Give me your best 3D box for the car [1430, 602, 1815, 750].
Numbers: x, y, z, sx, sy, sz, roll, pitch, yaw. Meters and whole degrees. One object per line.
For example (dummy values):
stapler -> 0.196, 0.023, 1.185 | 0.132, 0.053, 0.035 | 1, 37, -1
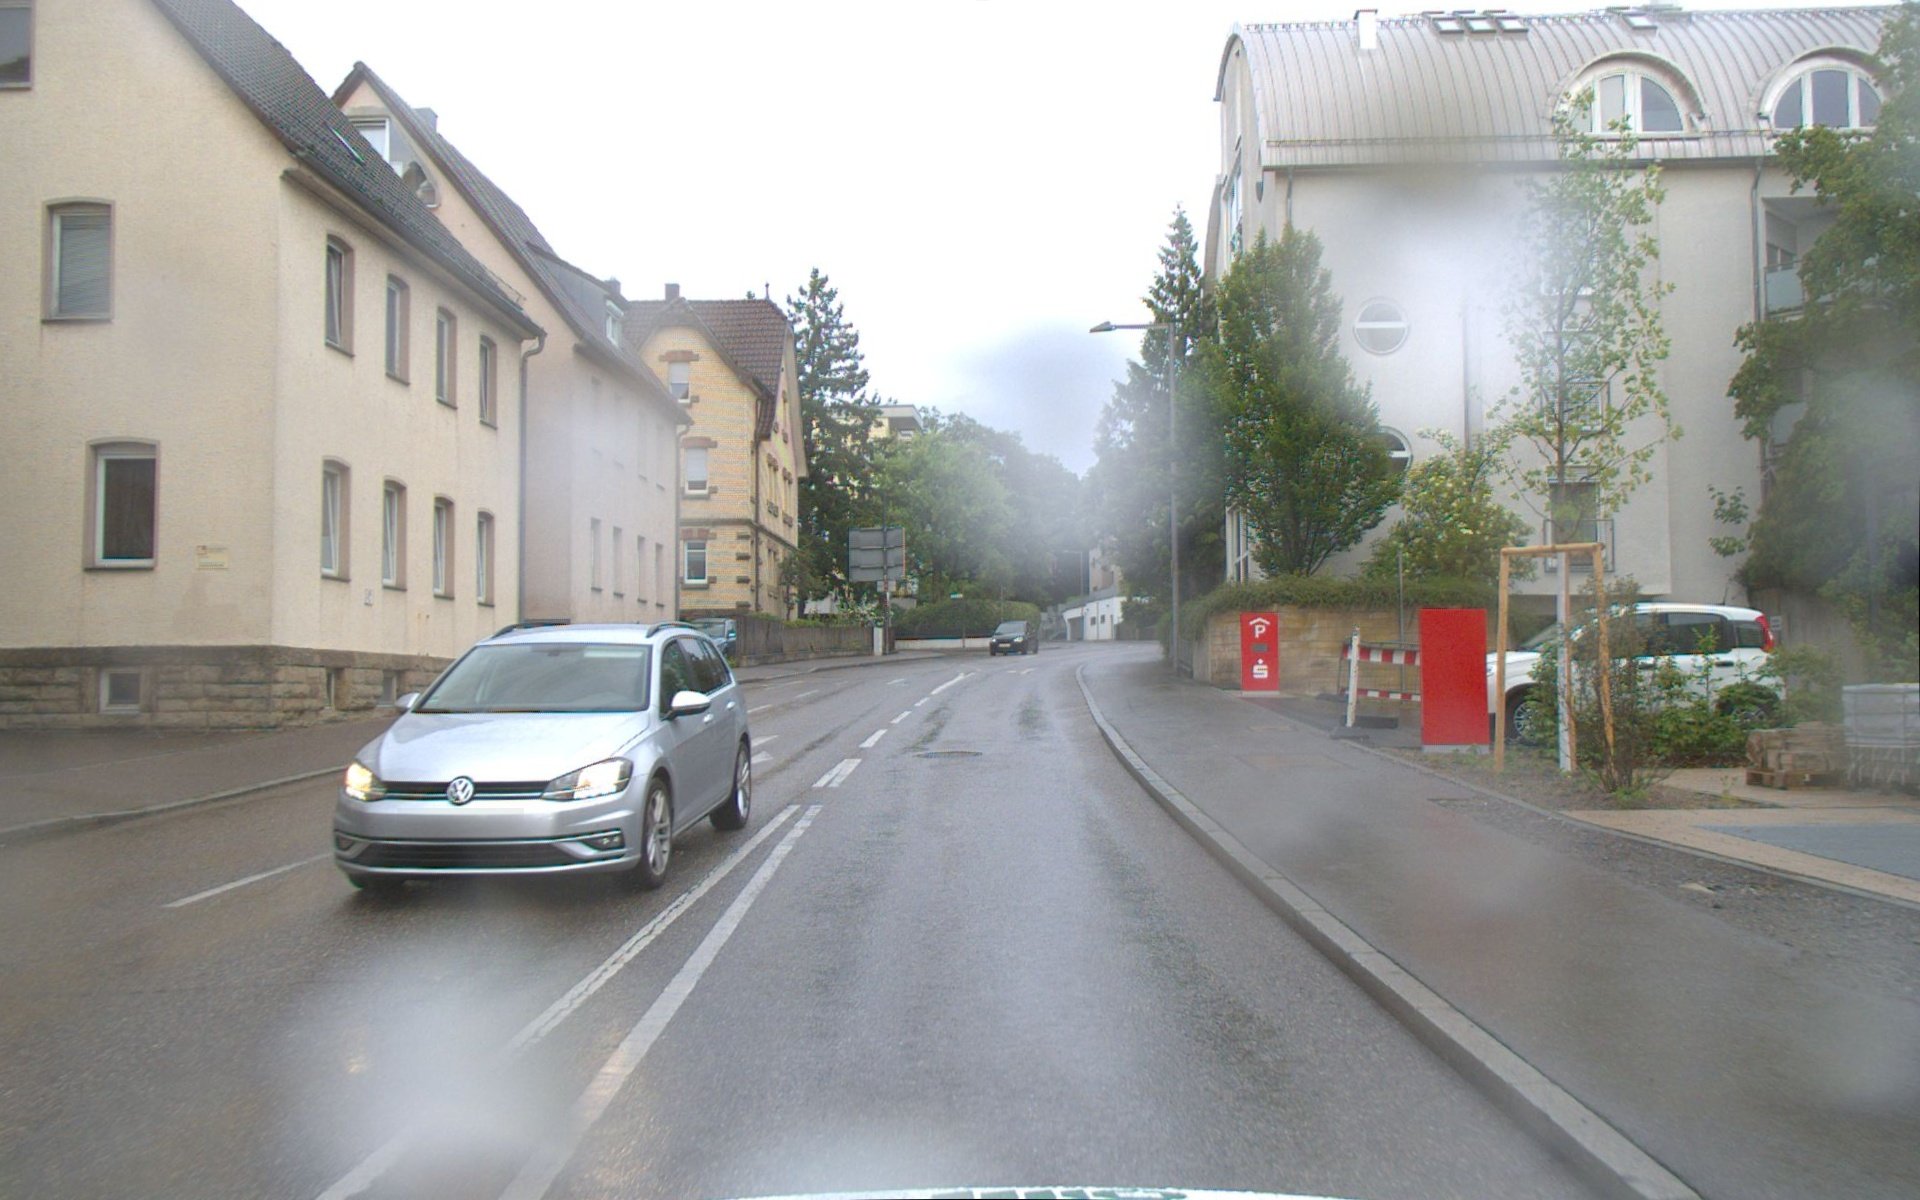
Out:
car -> 7.252, 0.803, 18.380 | 3.590, 1.529, 1.777 | 1, 0, 2

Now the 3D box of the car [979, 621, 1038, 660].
car -> 2.157, 1.784, 72.685 | 1.708, 1.599, 3.815 | 2, -1, 14

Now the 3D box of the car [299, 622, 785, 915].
car -> -2.384, 0.888, 10.768 | 1.761, 1.464, 4.690 | 0, -1, 3

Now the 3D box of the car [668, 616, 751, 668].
car -> -7.798, 1.297, 51.791 | 1.733, 1.529, 3.885 | 1, 0, 4
